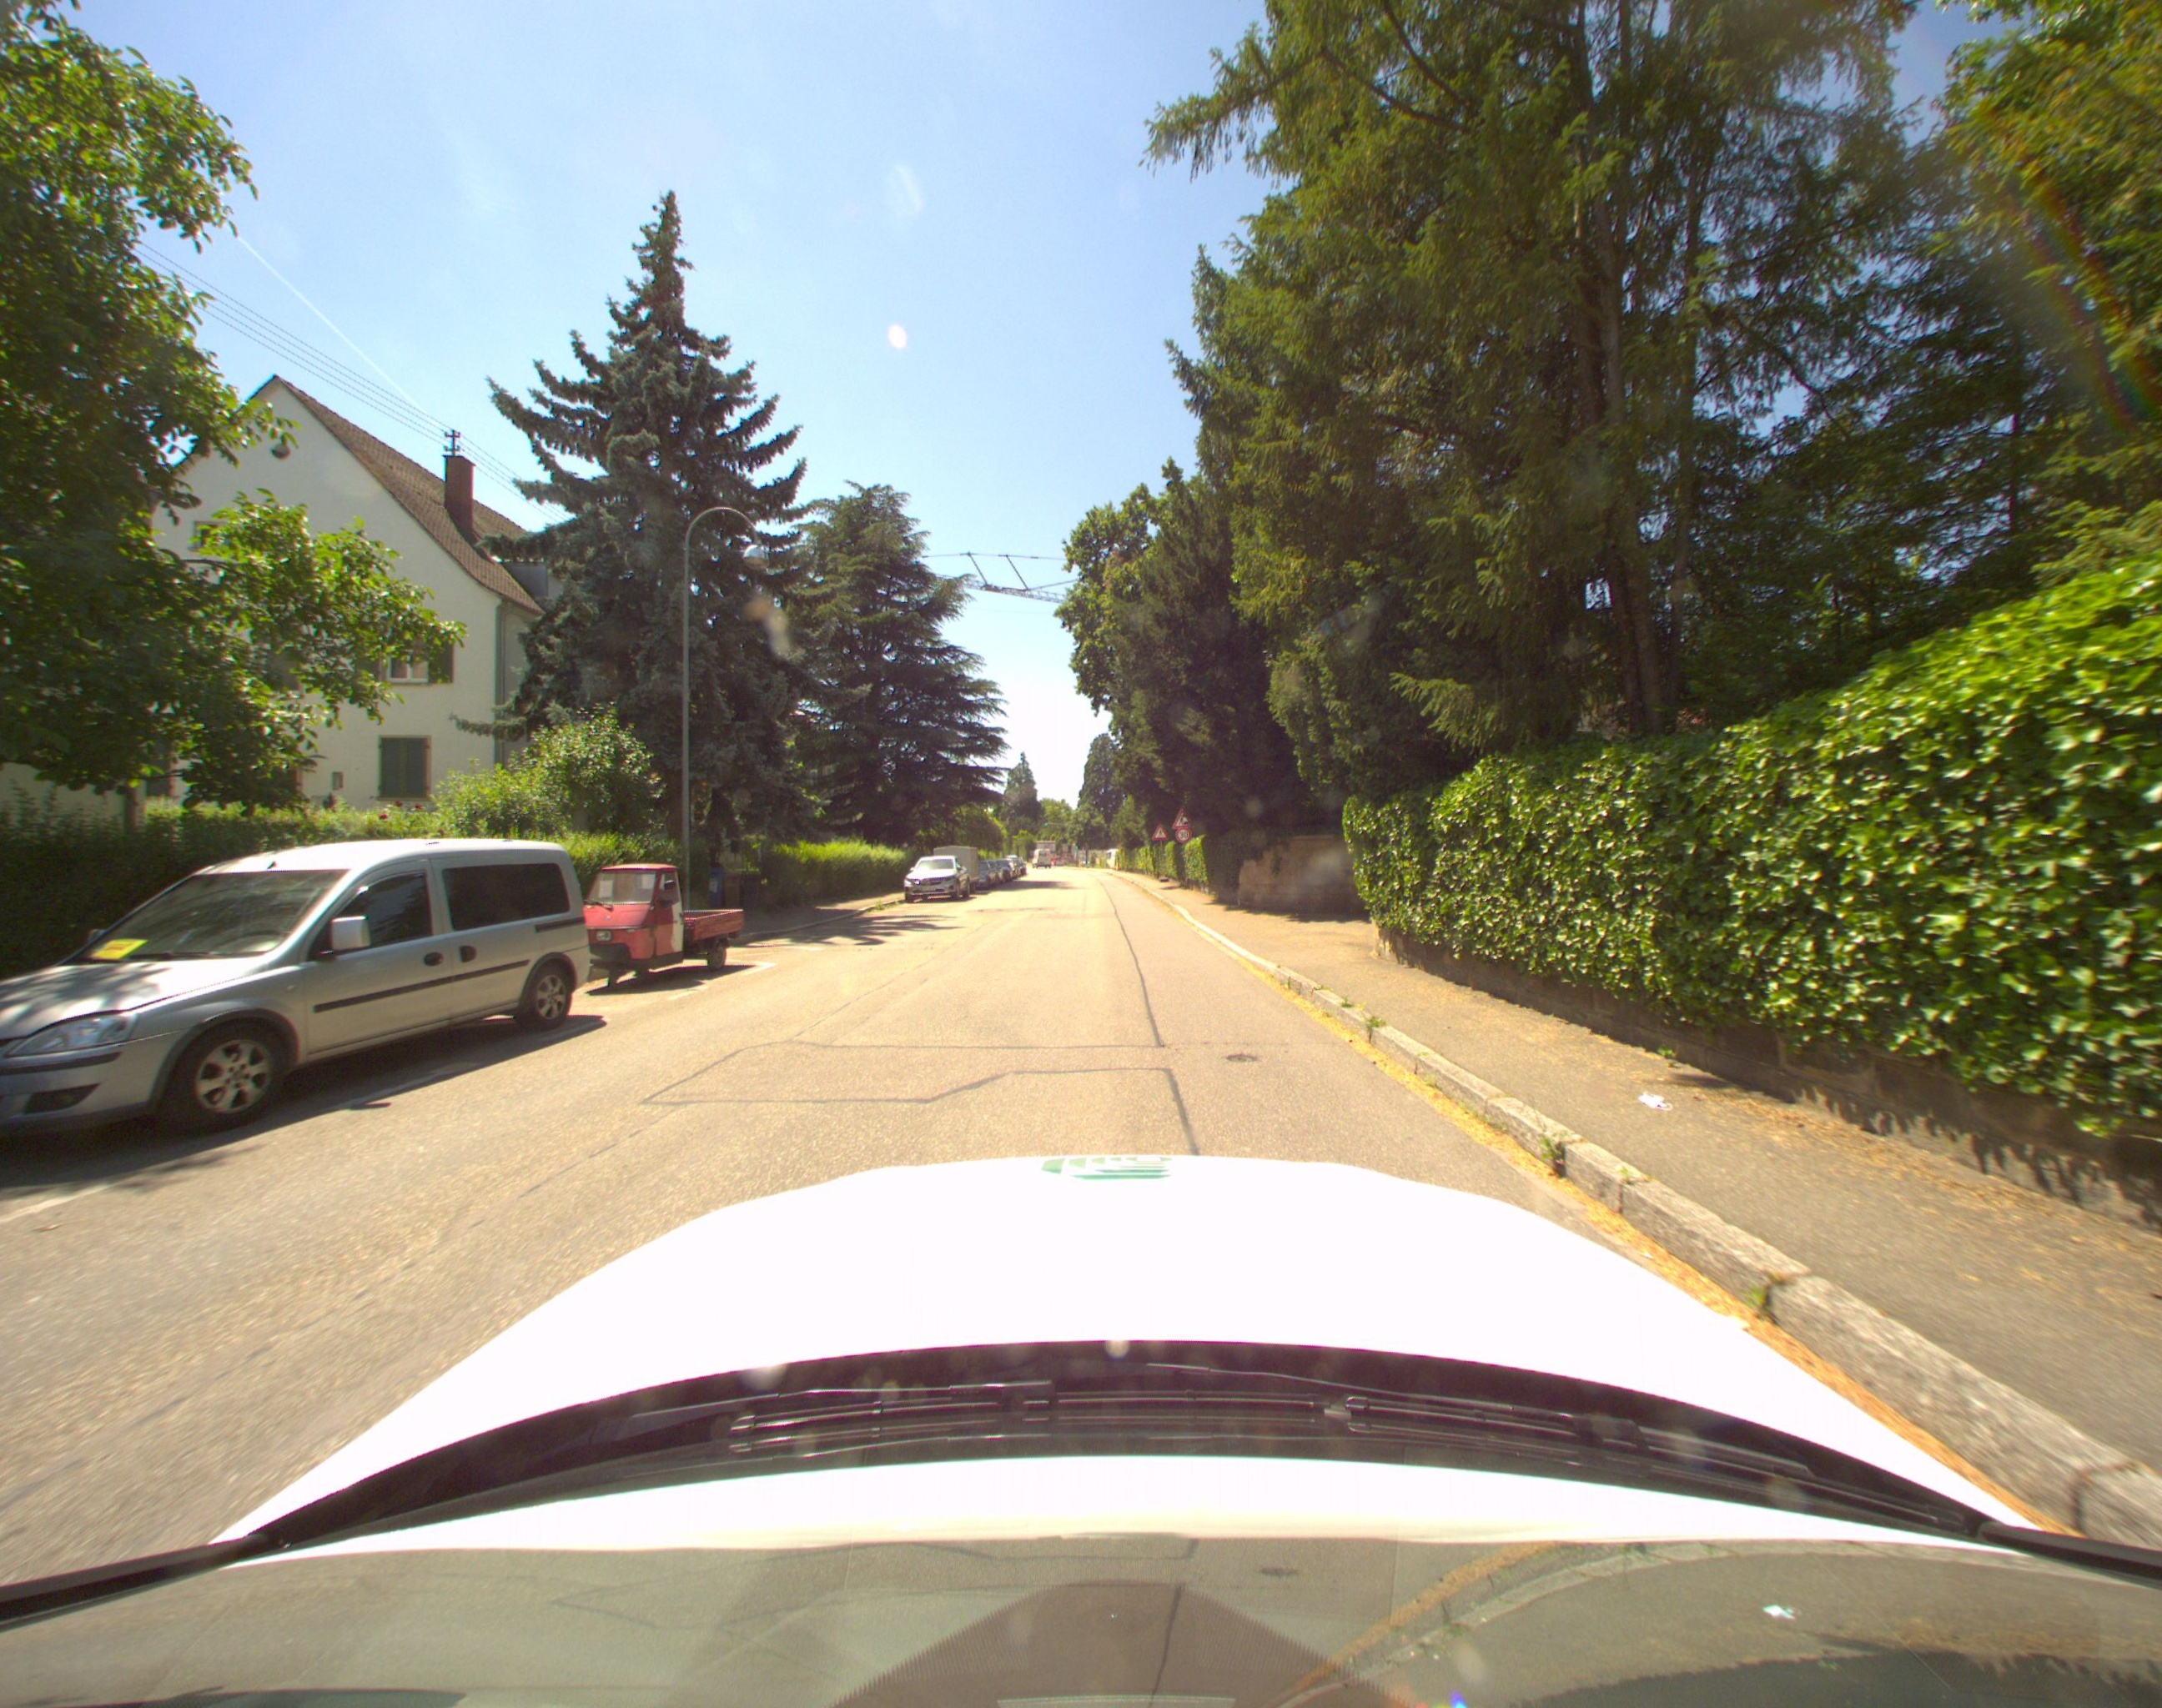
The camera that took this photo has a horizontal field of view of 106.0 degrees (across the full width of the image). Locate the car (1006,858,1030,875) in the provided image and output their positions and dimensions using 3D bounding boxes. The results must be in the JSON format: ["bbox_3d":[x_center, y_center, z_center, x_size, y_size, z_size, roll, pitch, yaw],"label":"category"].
[{"bbox_3d":[-5.601,1.101,72.959,1.682,1.444,4.136,-1,0,1],"label":"car"}]

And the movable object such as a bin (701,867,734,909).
[{"bbox_3d":[-9.858,0.921,22.100,0.537,1.083,0.645,3,0,-1],"label":"movable object such as a bin"}]

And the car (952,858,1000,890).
[{"bbox_3d":[-5.177,0.975,40.668,1.703,1.439,4.322,-2,0,1],"label":"car"}]

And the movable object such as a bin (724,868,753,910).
[{"bbox_3d":[-9.297,0.948,22.118,0.484,1.083,0.642,3,0,-1],"label":"movable object such as a bin"}]

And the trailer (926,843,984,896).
[{"bbox_3d":[-5.327,0.645,34.921,1.842,2.040,4.161,-2,0,-1],"label":"trailer"}]

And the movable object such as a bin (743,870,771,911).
[{"bbox_3d":[-8.811,0.988,22.157,0.484,1.065,0.616,3,0,-1],"label":"movable object such as a bin"}]

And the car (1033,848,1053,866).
[{"bbox_3d":[-5.174,0.407,110.767,2.143,2.315,4.838,-2,0,-9],"label":"car"}]

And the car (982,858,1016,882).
[{"bbox_3d":[-5.196,0.996,51.993,1.682,1.444,4.136,-1,0,1],"label":"car"}]

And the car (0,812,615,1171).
[{"bbox_3d":[-5.709,0.712,6.194,1.641,1.752,4.356,-2,-1,2],"label":"car"}]

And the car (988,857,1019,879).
[{"bbox_3d":[-5.361,0.931,56.630,1.682,1.444,4.136,-1,0,1],"label":"car"}]

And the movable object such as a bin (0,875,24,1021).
[{"bbox_3d":[-9.881,0.843,7.013,0.614,1.295,0.721,-1,0,-8],"label":"movable object such as a bin"}]

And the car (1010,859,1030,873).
[{"bbox_3d":[-6.429,1.236,86.458,1.682,1.444,4.136,-1,0,1],"label":"car"}]

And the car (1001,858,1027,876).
[{"bbox_3d":[-5.536,1.071,67.444,1.682,1.444,4.136,-1,0,1],"label":"car"}]

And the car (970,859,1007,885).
[{"bbox_3d":[-5.176,0.980,46.097,1.577,1.390,3.883,-1,0,1],"label":"car"}]

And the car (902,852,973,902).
[{"bbox_3d":[-5.261,0.807,30.480,1.845,1.671,4.710,-2,0,-1],"label":"car"}]

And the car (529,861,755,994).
[{"bbox_3d":[-5.816,0.896,11.146,1.406,1.503,2.842,-3,0,2],"label":"car"}]
